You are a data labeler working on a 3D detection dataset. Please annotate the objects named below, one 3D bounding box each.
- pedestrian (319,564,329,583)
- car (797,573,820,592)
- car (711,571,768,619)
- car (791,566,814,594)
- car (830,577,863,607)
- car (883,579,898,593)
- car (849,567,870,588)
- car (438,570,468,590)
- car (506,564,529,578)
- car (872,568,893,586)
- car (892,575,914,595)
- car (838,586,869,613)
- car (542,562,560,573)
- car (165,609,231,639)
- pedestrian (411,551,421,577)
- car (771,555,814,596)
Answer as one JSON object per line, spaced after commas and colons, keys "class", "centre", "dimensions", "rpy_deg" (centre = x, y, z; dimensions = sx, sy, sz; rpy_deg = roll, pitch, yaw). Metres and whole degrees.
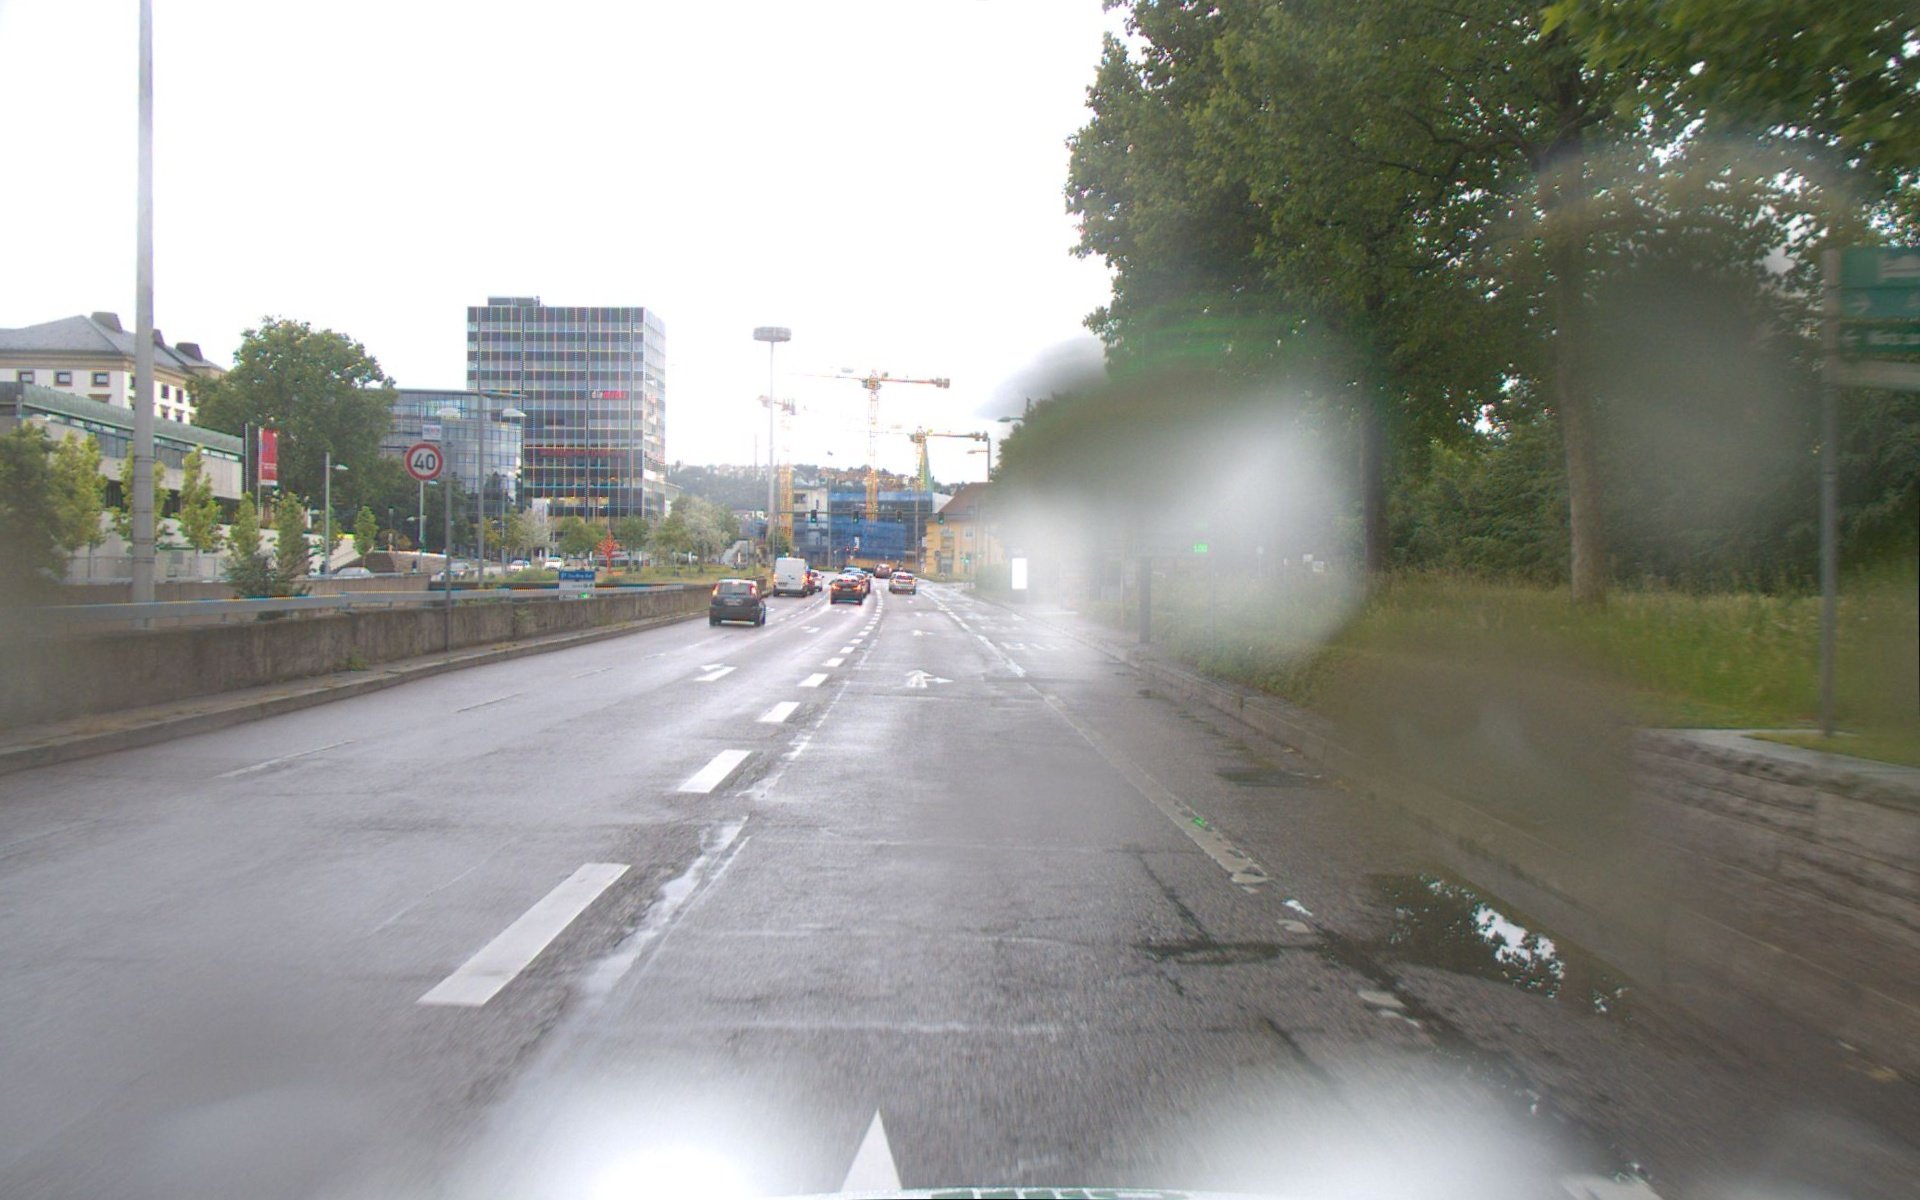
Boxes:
{"class": "pedestrian", "centre": [-46.014, -1.918, 119.638], "dimensions": [0.457, 1.407, 0.577], "rpy_deg": [2, 0, 6]}
{"class": "car", "centre": [-10.815, -1.243, 118.482], "dimensions": [1.520, 1.282, 2.579], "rpy_deg": [2, 0, -3]}
{"class": "car", "centre": [-7.100, -0.165, 53.475], "dimensions": [1.512, 1.440, 3.899], "rpy_deg": [2, 0, -4]}
{"class": "car", "centre": [-10.359, -1.307, 108.821], "dimensions": [1.435, 1.736, 3.138], "rpy_deg": [2, 0, -5]}
{"class": "car", "centre": [-6.316, -0.446, 91.940], "dimensions": [1.719, 1.496, 4.220], "rpy_deg": [2, 2, -4]}
{"class": "car", "centre": [-5.342, -1.059, 126.839], "dimensions": [1.054, 1.007, 1.971], "rpy_deg": [2, -1, 0]}
{"class": "car", "centre": [-7.217, -1.607, 118.890], "dimensions": [1.463, 1.393, 3.031], "rpy_deg": [2, 0, -3]}
{"class": "car", "centre": [-38.681, -1.517, 126.280], "dimensions": [1.435, 1.465, 2.961], "rpy_deg": [2, 0, -3]}
{"class": "car", "centre": [-43.883, -2.906, 164.142], "dimensions": [1.379, 1.277, 3.166], "rpy_deg": [2, 0, 0]}
{"class": "car", "centre": [-8.755, -2.548, 187.551], "dimensions": [2.117, 1.912, 3.770], "rpy_deg": [2, 0, 0]}
{"class": "car", "centre": [-4.145, -1.096, 120.356], "dimensions": [1.415, 1.383, 2.412], "rpy_deg": [2, 0, 0]}
{"class": "car", "centre": [-6.872, -0.045, 106.788], "dimensions": [1.844, 1.681, 3.454], "rpy_deg": [2, 0, -6]}
{"class": "car", "centre": [-45.661, -3.592, 184.750], "dimensions": [1.411, 1.134, 3.019], "rpy_deg": [2, 0, -3]}
{"class": "car", "centre": [-31.866, 0.984, 69.207], "dimensions": [1.458, 1.149, 3.049], "rpy_deg": [2, 0, -3]}
{"class": "pedestrian", "centre": [-45.499, -3.029, 138.328], "dimensions": [0.754, 2.126, 0.724], "rpy_deg": [1, 6, -13]}
{"class": "car", "centre": [-10.328, -1.471, 102.280], "dimensions": [2.246, 2.354, 5.003], "rpy_deg": [2, 0, -2]}
